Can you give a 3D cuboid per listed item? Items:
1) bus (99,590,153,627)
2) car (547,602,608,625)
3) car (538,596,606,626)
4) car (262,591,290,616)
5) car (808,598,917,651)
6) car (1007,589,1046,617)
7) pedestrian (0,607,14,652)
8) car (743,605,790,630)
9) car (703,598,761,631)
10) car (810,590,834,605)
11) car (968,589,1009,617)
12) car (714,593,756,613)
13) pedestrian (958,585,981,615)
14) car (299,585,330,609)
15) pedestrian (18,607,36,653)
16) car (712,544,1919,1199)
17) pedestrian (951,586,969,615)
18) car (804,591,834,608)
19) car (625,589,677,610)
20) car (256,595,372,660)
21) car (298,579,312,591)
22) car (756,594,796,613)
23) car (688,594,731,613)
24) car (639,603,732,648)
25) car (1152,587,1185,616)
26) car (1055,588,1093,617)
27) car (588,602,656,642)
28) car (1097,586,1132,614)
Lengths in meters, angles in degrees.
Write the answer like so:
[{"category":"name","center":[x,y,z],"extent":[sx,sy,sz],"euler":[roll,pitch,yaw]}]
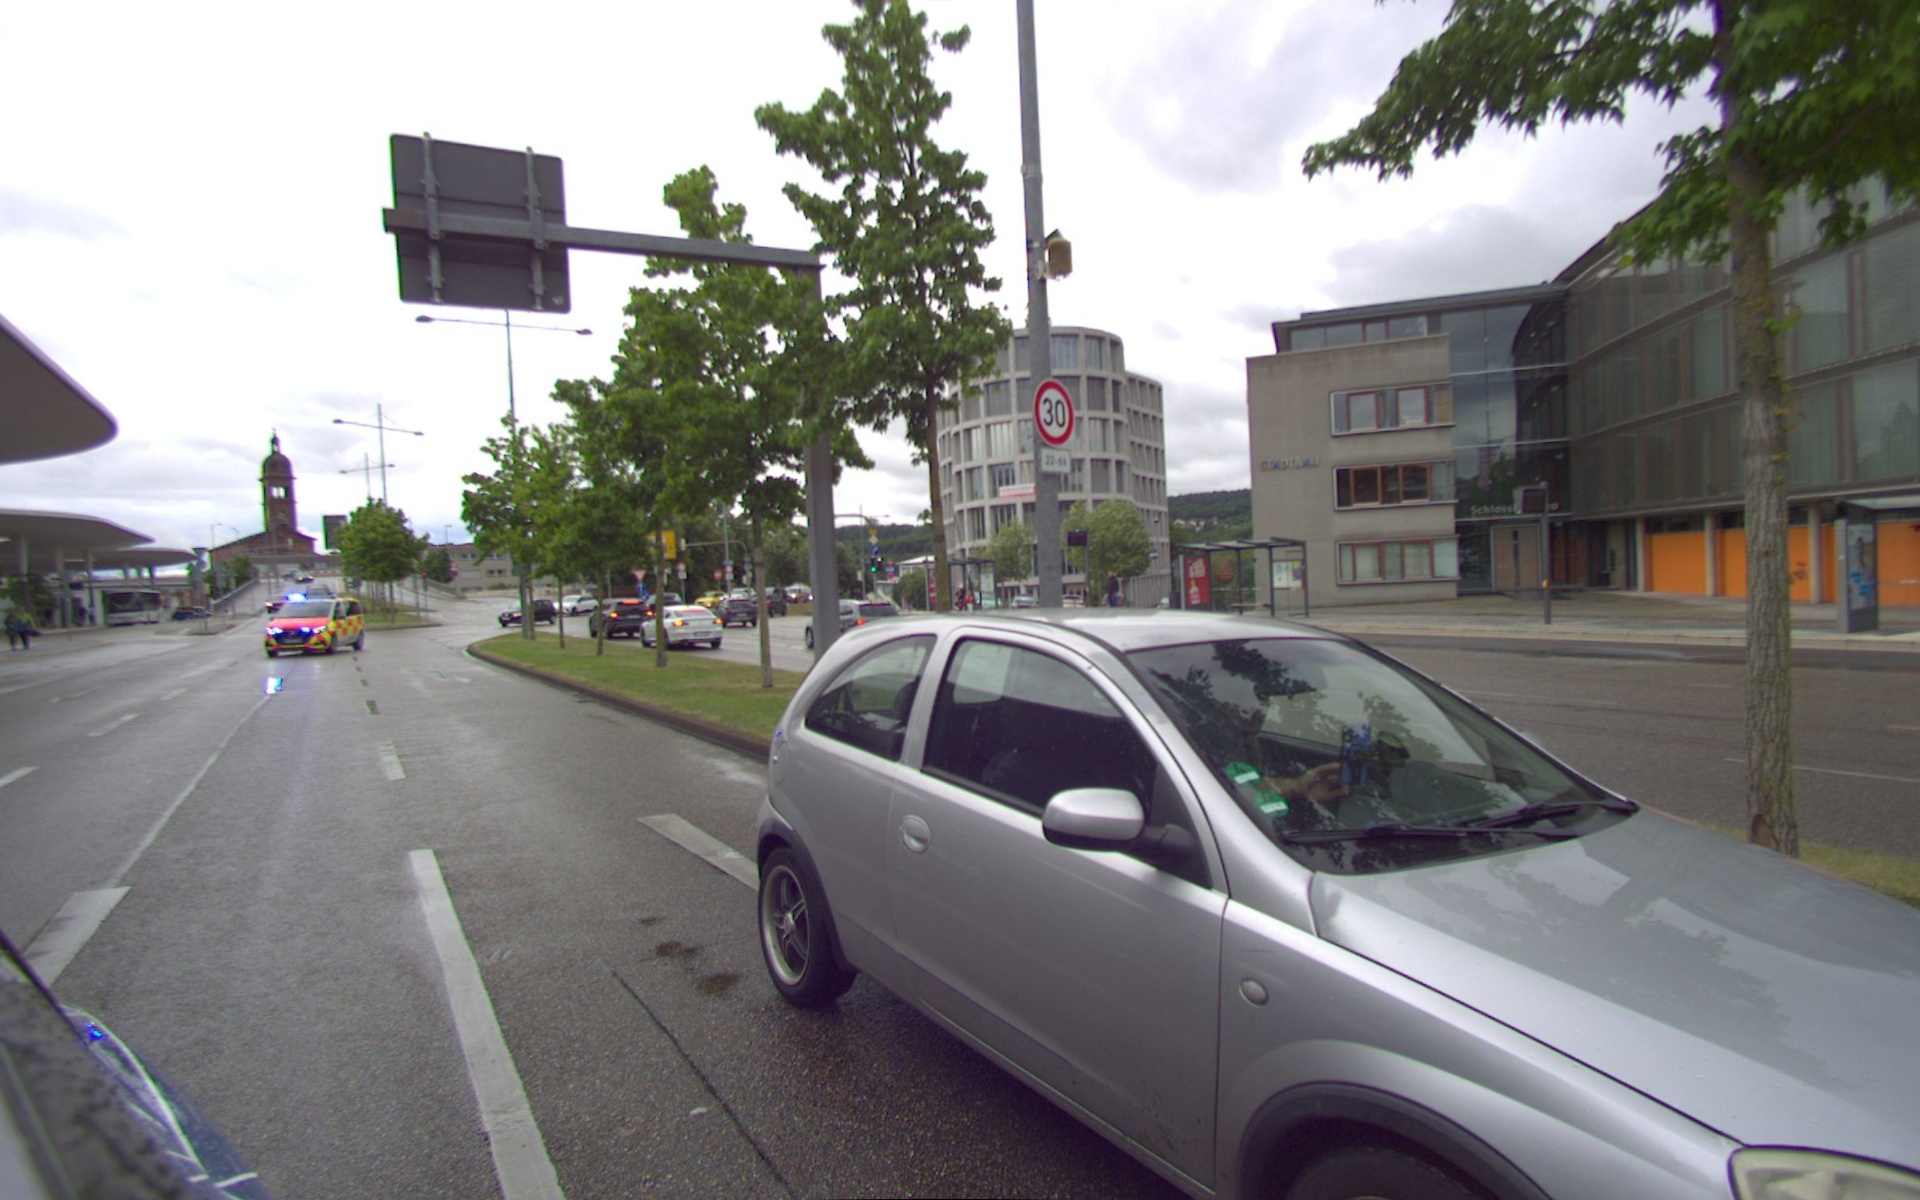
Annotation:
[{"category":"bus","center":[-75.118,0.767,91.112],"extent":[3.529,3.121,10.772],"euler":[-2,0,-40]},{"category":"car","center":[-28.509,0.988,75.523],"extent":[1.808,1.571,4.002],"euler":[-1,0,35]},{"category":"car","center":[-23.491,0.652,61.389],"extent":[1.858,1.714,4.139],"euler":[-1,0,13]},{"category":"car","center":[-58.742,0.285,86.904],"extent":[1.967,2.029,4.010],"euler":[-1,0,-35]},{"category":"car","center":[-3.070,0.689,31.022],"extent":[1.671,1.476,4.466],"euler":[-1,0,-29]},{"category":"car","center":[4.291,0.169,64.631],"extent":[1.858,1.714,4.139],"euler":[-1,0,13]},{"category":"pedestrian","center":[-37.475,1.154,39.711],"extent":[0.438,1.777,0.538],"euler":[-2,0,-38]},{"category":"car","center":[-12.846,1.118,67.034],"extent":[1.853,1.566,4.014],"euler":[-1,0,-29]},{"category":"car","center":[-11.591,0.691,51.293],"extent":[1.853,1.566,4.014],"euler":[-1,0,-29]},{"category":"car","center":[-15.459,-0.310,113.533],"extent":[1.852,1.646,4.154],"euler":[-1,0,3]},{"category":"car","center":[1.898,0.193,65.329],"extent":[1.858,1.714,4.139],"euler":[-1,0,13]},{"category":"car","center":[-19.631,0.240,88.392],"extent":[1.860,1.646,4.280],"euler":[-1,0,15]},{"category":"pedestrian","center":[0.464,0.003,52.216],"extent":[0.967,1.501,0.737],"euler":[-1,0,-21]},{"category":"car","center":[-56.133,-0.288,87.942],"extent":[1.967,2.029,4.009],"euler":[-1,0,-37]},{"category":"pedestrian","center":[-36.955,1.187,40.073],"extent":[0.439,1.777,0.538],"euler":[-2,0,-38]},{"category":"car","center":[0.733,0.679,2.880],"extent":[1.671,1.476,3.730],"euler":[-1,0,-33]},{"category":"pedestrian","center":[0.005,0.005,53.136],"extent":[0.721,1.501,0.737],"euler":[-1,0,-23]},{"category":"car","center":[-14.621,-0.075,105.154],"extent":[1.856,1.646,4.144],"euler":[-1,0,10]},{"category":"car","center":[-25.947,-0.079,85.173],"extent":[1.866,1.646,4.122],"euler":[-1,0,25]},{"category":"car","center":[-22.064,0.875,34.809],"extent":[1.966,2.029,5.076],"euler":[-1,0,-16]},{"category":"car","center":[-93.449,-2.109,144.369],"extent":[1.525,1.572,3.658],"euler":[-1,0,-37]},{"category":"car","center":[-15.753,0.277,86.965],"extent":[1.859,1.646,4.138],"euler":[-1,0,15]},{"category":"car","center":[-22.152,0.264,89.662],"extent":[1.860,1.646,4.280],"euler":[-1,0,15]},{"category":"car","center":[-9.213,0.811,33.756],"extent":[1.977,1.363,4.177],"euler":[-1,0,-30]},{"category":"car","center":[12.914,0.084,62.462],"extent":[1.858,1.714,4.139],"euler":[-1,0,13]},{"category":"car","center":[7.235,0.126,63.910],"extent":[1.858,1.714,4.139],"euler":[-1,0,13]},{"category":"car","center":[-14.291,0.878,42.635],"extent":[1.977,1.566,4.178],"euler":[-1,0,-29]},{"category":"car","center":[9.768,-0.016,63.715],"extent":[1.858,1.714,4.139],"euler":[-1,0,13]}]
